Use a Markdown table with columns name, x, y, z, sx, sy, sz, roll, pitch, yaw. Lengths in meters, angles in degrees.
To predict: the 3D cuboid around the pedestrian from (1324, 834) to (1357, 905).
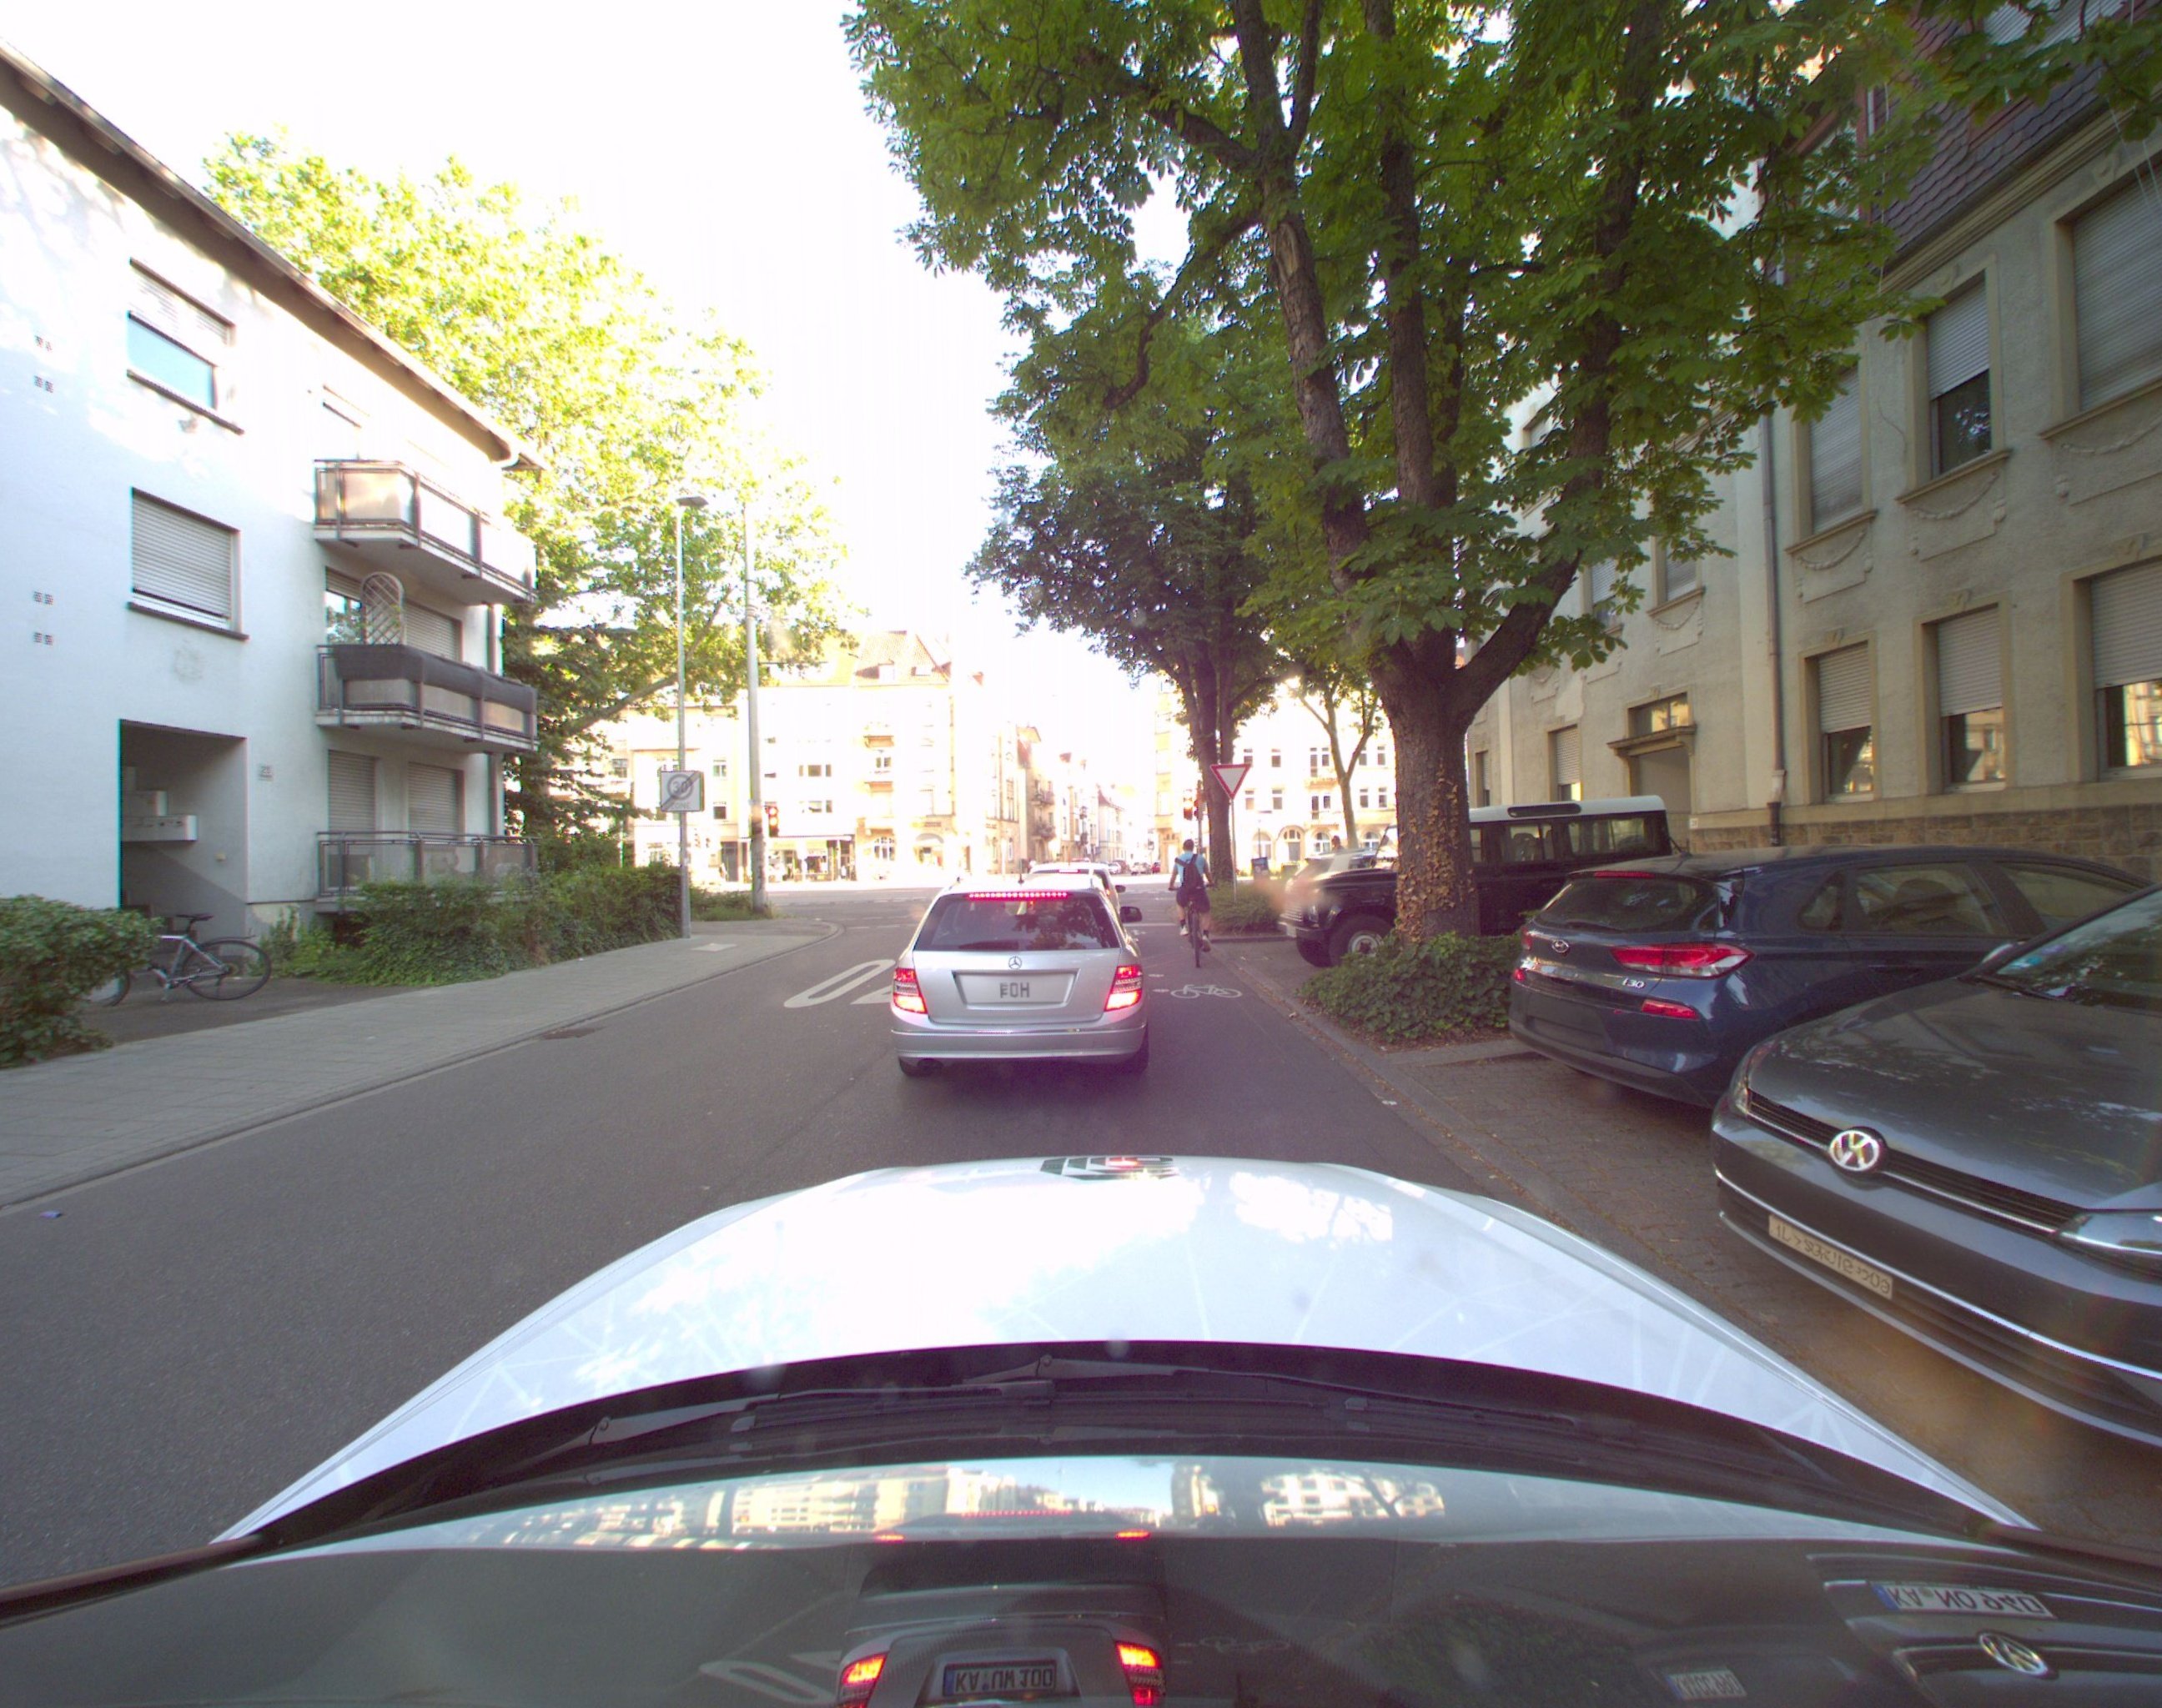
| name | x | y | z | sx | sy | sz | roll | pitch | yaw |
| --- | --- | --- | --- | --- | --- | --- | --- | --- | --- |
| pedestrian | 6.908 | 0.415 | 21.718 | 0.630 | 1.845 | 0.574 | -1 | 0 | -2 |

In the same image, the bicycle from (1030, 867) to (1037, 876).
| name | x | y | z | sx | sy | sz | roll | pitch | yaw |
| --- | --- | --- | --- | --- | --- | --- | --- | --- | --- |
| bicycle | -4.295 | 1.571 | 73.605 | 0.567 | 0.834 | 1.565 | -1 | 0 | -1 |

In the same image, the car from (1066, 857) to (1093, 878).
| name | x | y | z | sx | sy | sz | roll | pitch | yaw |
| --- | --- | --- | --- | --- | --- | --- | --- | --- | --- |
| car | -0.108 | 1.321 | 79.972 | 1.926 | 1.958 | 4.161 | -2 | 0 | 10 |

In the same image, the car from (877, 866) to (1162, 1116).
| name | x | y | z | sx | sy | sz | roll | pitch | yaw |
| --- | --- | --- | --- | --- | --- | --- | --- | --- | --- |
| car | -0.381 | 0.832 | 6.581 | 1.685 | 1.429 | 3.491 | 0 | 0 | -1 |

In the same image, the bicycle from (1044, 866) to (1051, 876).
| name | x | y | z | sx | sy | sz | roll | pitch | yaw |
| --- | --- | --- | --- | --- | --- | --- | --- | --- | --- |
| bicycle | -3.035 | 1.544 | 73.635 | 0.567 | 0.834 | 1.565 | -1 | 0 | -1 |

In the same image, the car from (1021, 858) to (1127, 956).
| name | x | y | z | sx | sy | sz | roll | pitch | yaw |
| --- | --- | --- | --- | --- | --- | --- | --- | --- | --- |
| car | -0.088 | 0.784 | 13.751 | 1.528 | 1.391 | 3.599 | -1 | 0 | 0 |

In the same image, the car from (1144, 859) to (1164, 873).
| name | x | y | z | sx | sy | sz | roll | pitch | yaw |
| --- | --- | --- | --- | --- | --- | --- | --- | --- | --- |
| car | 9.165 | 1.469 | 102.042 | 1.709 | 1.478 | 4.016 | -6 | -1 | 14 |

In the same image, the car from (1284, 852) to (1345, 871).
| name | x | y | z | sx | sy | sz | roll | pitch | yaw |
| --- | --- | --- | --- | --- | --- | --- | --- | --- | --- |
| car | 14.210 | 0.472 | 49.673 | 3.352 | 1.069 | 1.380 | -2 | 0 | 0 |

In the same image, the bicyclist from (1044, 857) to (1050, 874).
| name | x | y | z | sx | sy | sz | roll | pitch | yaw |
| --- | --- | --- | --- | --- | --- | --- | --- | --- | --- |
| bicyclist | -3.064 | 1.019 | 73.643 | 0.465 | 1.521 | 0.693 | -1 | 0 | -2 |

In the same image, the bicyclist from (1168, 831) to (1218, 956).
| name | x | y | z | sx | sy | sz | roll | pitch | yaw |
| --- | --- | --- | --- | --- | --- | --- | --- | --- | --- |
| bicyclist | 1.635 | 0.563 | 11.989 | 0.644 | 1.775 | 0.831 | 0 | -1 | 1 |

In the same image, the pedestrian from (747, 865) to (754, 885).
| name | x | y | z | sx | sy | sz | roll | pitch | yaw |
| --- | --- | --- | --- | --- | --- | --- | --- | --- | --- |
| pedestrian | -26.451 | 1.674 | 65.172 | 0.510 | 1.511 | 0.533 | -1 | 0 | -22 |

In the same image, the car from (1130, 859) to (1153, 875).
| name | x | y | z | sx | sy | sz | roll | pitch | yaw |
| --- | --- | --- | --- | --- | --- | --- | --- | --- | --- |
| car | 6.424 | 1.305 | 85.930 | 1.708 | 1.478 | 4.016 | -3 | 0 | 14 |

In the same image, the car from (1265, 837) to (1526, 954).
| name | x | y | z | sx | sy | sz | roll | pitch | yaw |
| --- | --- | --- | --- | --- | --- | --- | --- | --- | --- |
| car | 4.950 | 0.611 | 13.111 | 3.475 | 1.586 | 1.708 | -3 | 0 | -5 |

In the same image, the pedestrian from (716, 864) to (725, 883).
| name | x | y | z | sx | sy | sz | roll | pitch | yaw |
| --- | --- | --- | --- | --- | --- | --- | --- | --- | --- |
| pedestrian | -28.296 | 1.514 | 63.950 | 0.566 | 1.511 | 0.499 | -1 | 0 | -17 |

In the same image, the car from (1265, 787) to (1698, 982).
| name | x | y | z | sx | sy | sz | roll | pitch | yaw |
| --- | --- | --- | --- | --- | --- | --- | --- | --- | --- |
| car | 4.787 | 0.349 | 10.192 | 4.478 | 1.956 | 1.792 | -3 | 0 | -1 |

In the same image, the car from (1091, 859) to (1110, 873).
| name | x | y | z | sx | sy | sz | roll | pitch | yaw |
| --- | --- | --- | --- | --- | --- | --- | --- | --- | --- |
| car | 2.503 | 1.538 | 102.468 | 1.639 | 1.783 | 3.876 | -1 | -1 | 13 |

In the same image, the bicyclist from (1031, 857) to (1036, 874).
| name | x | y | z | sx | sy | sz | roll | pitch | yaw |
| --- | --- | --- | --- | --- | --- | --- | --- | --- | --- |
| bicyclist | -4.287 | 1.045 | 73.641 | 0.465 | 1.514 | 0.655 | -1 | 0 | -2 |

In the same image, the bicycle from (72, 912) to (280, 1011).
| name | x | y | z | sx | sy | sz | roll | pitch | yaw |
| --- | --- | --- | --- | --- | --- | --- | --- | --- | --- |
| bicycle | -10.010 | 1.155 | 9.080 | 1.469 | 0.975 | 0.402 | 2 | -2 | -38 |

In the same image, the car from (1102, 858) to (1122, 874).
| name | x | y | z | sx | sy | sz | roll | pitch | yaw |
| --- | --- | --- | --- | --- | --- | --- | --- | --- | --- |
| car | 3.648 | 1.363 | 95.637 | 1.675 | 1.722 | 4.014 | -2 | 0 | 13 |

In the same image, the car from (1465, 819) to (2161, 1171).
| name | x | y | z | sx | sy | sz | roll | pitch | yaw |
| --- | --- | --- | --- | --- | --- | --- | --- | --- | --- |
| car | 4.408 | 0.614 | 4.516 | 3.739 | 1.422 | 1.627 | -3 | -1 | -2 |

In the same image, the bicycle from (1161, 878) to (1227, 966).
| name | x | y | z | sx | sy | sz | roll | pitch | yaw |
| --- | --- | --- | --- | --- | --- | --- | --- | --- | --- |
| bicycle | 1.617 | 0.942 | 11.934 | 0.739 | 1.118 | 2.014 | 0 | 0 | 2 |

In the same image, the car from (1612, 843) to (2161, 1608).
| name | x | y | z | sx | sy | sz | roll | pitch | yaw |
| --- | --- | --- | --- | --- | --- | --- | --- | --- | --- |
| car | 4.079 | 0.660 | 2.324 | 4.037 | 1.422 | 1.627 | -3 | -1 | -2 |
